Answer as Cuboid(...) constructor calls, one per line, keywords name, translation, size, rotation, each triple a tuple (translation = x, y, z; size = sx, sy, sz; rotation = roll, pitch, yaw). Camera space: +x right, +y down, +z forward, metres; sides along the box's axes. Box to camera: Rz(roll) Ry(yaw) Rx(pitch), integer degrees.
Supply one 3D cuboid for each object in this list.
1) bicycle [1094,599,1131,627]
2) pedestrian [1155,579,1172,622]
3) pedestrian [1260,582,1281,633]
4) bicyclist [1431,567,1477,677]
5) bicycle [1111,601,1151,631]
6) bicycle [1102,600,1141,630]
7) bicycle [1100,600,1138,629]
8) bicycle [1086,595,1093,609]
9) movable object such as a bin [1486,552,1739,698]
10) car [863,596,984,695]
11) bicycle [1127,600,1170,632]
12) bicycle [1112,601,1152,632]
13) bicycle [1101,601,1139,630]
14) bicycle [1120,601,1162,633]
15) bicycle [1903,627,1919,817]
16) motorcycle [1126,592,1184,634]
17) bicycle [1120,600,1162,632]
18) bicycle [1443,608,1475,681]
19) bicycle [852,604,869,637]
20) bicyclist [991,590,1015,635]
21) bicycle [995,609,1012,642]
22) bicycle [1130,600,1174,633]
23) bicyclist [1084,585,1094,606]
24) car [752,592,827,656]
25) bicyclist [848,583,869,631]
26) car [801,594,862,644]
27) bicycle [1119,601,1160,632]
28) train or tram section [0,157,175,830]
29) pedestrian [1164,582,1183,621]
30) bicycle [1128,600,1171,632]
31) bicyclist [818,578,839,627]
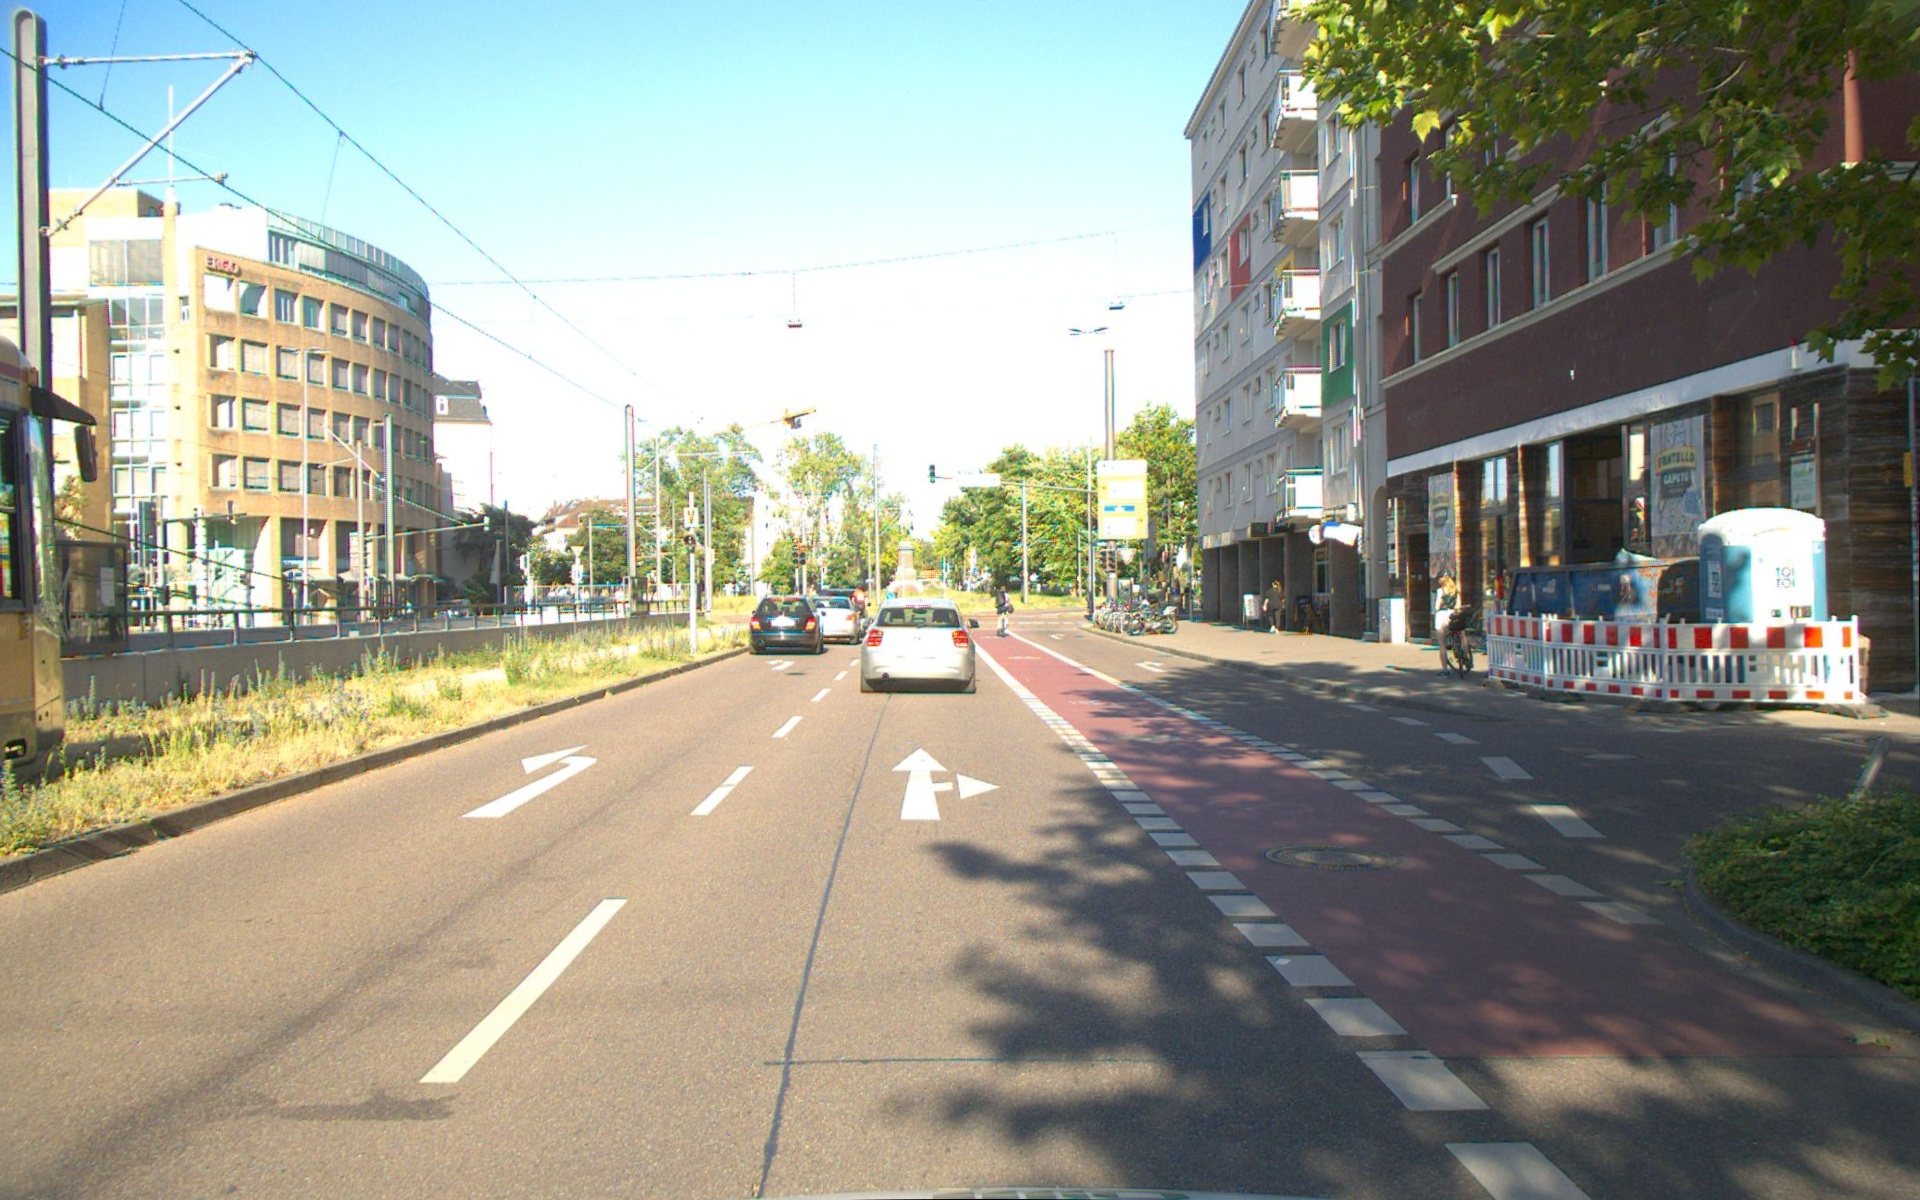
Cuboid(name="bicycle", translation=(6.204, 0.538, 67.171), size=(1.435, 1.086, 0.257), rotation=(-2, -1, 1))
Cuboid(name="pedestrian", translation=(9.774, 0.036, 79.575), size=(0.774, 2.049, 0.870), rotation=(1, 0, 6))
Cuboid(name="pedestrian", translation=(9.717, 0.233, 51.783), size=(0.561, 1.610, 0.556), rotation=(0, 0, -1))
Cuboid(name="bicyclist", translation=(7.868, 0.348, 26.359), size=(0.588, 1.719, 0.598), rotation=(-1, 0, 9))
Cuboid(name="bicycle", translation=(6.351, 0.596, 61.577), size=(1.435, 1.086, 0.257), rotation=(-2, -1, 1))
Cuboid(name="bicycle", translation=(6.225, 0.580, 63.850), size=(1.435, 1.086, 0.257), rotation=(-2, -1, 1))
Cuboid(name="bicycle", translation=(6.243, 0.583, 64.824), size=(1.435, 1.086, 0.257), rotation=(-2, -1, 1))
Cuboid(name="bicycle", translation=(8.786, 0.139, 112.508), size=(0.344, 0.975, 1.573), rotation=(1, 0, 0))
Cuboid(name="movable object such as a bin", translation=(9.118, 0.287, 23.428), size=(1.908, 1.875, 3.475), rotation=(-1, 1, -7))
Cuboid(name="car", translation=(-0.587, 0.663, 26.202), size=(1.761, 1.439, 3.999), rotation=(0, 0, -2))
Cuboid(name="bicycle", translation=(6.597, 0.561, 57.815), size=(1.435, 1.086, 0.257), rotation=(-2, -1, 1))
Cuboid(name="bicycle", translation=(6.366, 0.614, 61.210), size=(1.435, 1.086, 0.257), rotation=(-2, -1, 1))
Cuboid(name="bicycle", translation=(6.238, 0.599, 64.507), size=(1.435, 1.086, 0.257), rotation=(-2, -1, 1))
Cuboid(name="bicycle", translation=(6.469, 0.599, 59.105), size=(1.435, 1.086, 0.257), rotation=(-2, -1, 1))
Cuboid(name="bicycle", translation=(6.415, 0.768, 9.404), size=(0.569, 1.183, 2.233), rotation=(1, 0, -8))
Cuboid(name="motorcycle", translation=(6.504, 0.437, 55.186), size=(1.816, 1.323, 0.652), rotation=(-2, 0, 2))
Cuboid(name="bicycle", translation=(6.374, 0.568, 58.296), size=(1.435, 1.086, 0.257), rotation=(-2, -1, 1))
Cuboid(name="bicycle", translation=(7.941, 0.695, 26.352), size=(0.311, 1.104, 1.686), rotation=(-1, 0, 11))
Cuboid(name="bicycle", translation=(-3.352, 0.673, 55.500), size=(0.332, 1.075, 1.774), rotation=(0, 0, -11))
Cuboid(name="bicyclist", translation=(1.515, 0.426, 57.878), size=(0.769, 1.558, 0.894), rotation=(1, 0, -1))
Cuboid(name="bicycle", translation=(1.508, 0.872, 57.880), size=(0.489, 1.107, 1.996), rotation=(1, 0, -1))
Cuboid(name="bicycle", translation=(6.580, 0.555, 56.661), size=(1.435, 1.086, 0.257), rotation=(-2, -1, 1))
Cuboid(name="bicyclist", translation=(8.776, -0.327, 112.464), size=(0.604, 1.404, 0.686), rotation=(1, 0, 0))
Cuboid(name="car", translation=(-4.227, 0.569, 41.568), size=(1.692, 1.496, 4.407), rotation=(0, 0, -4))
Cuboid(name="bicyclist", translation=(-3.403, 0.239, 55.539), size=(0.606, 1.599, 0.684), rotation=(0, 0, -13))
Cuboid(name="car", translation=(-3.825, 0.558, 49.773), size=(1.611, 1.446, 3.999), rotation=(0, 0, -1))
Cuboid(name="bicycle", translation=(6.462, 0.591, 59.478), size=(1.435, 1.086, 0.257), rotation=(-2, -1, 1))
Cuboid(name="train or tram section", translation=(-7.042, -0.645, 6.524), size=(2.893, 3.965, 10.799), rotation=(1, 0, -1))
Cuboid(name="pedestrian", translation=(10.449, 0.092, 81.093), size=(0.808, 1.888, 0.917), rotation=(1, 0, 13))
Cuboid(name="bicycle", translation=(6.587, 0.557, 57.421), size=(1.435, 1.086, 0.257), rotation=(-2, -1, 1))
Cuboid(name="bicyclist", translation=(-4.388, 0.082, 55.284), size=(0.604, 1.599, 0.686), rotation=(1, 0, 0))
